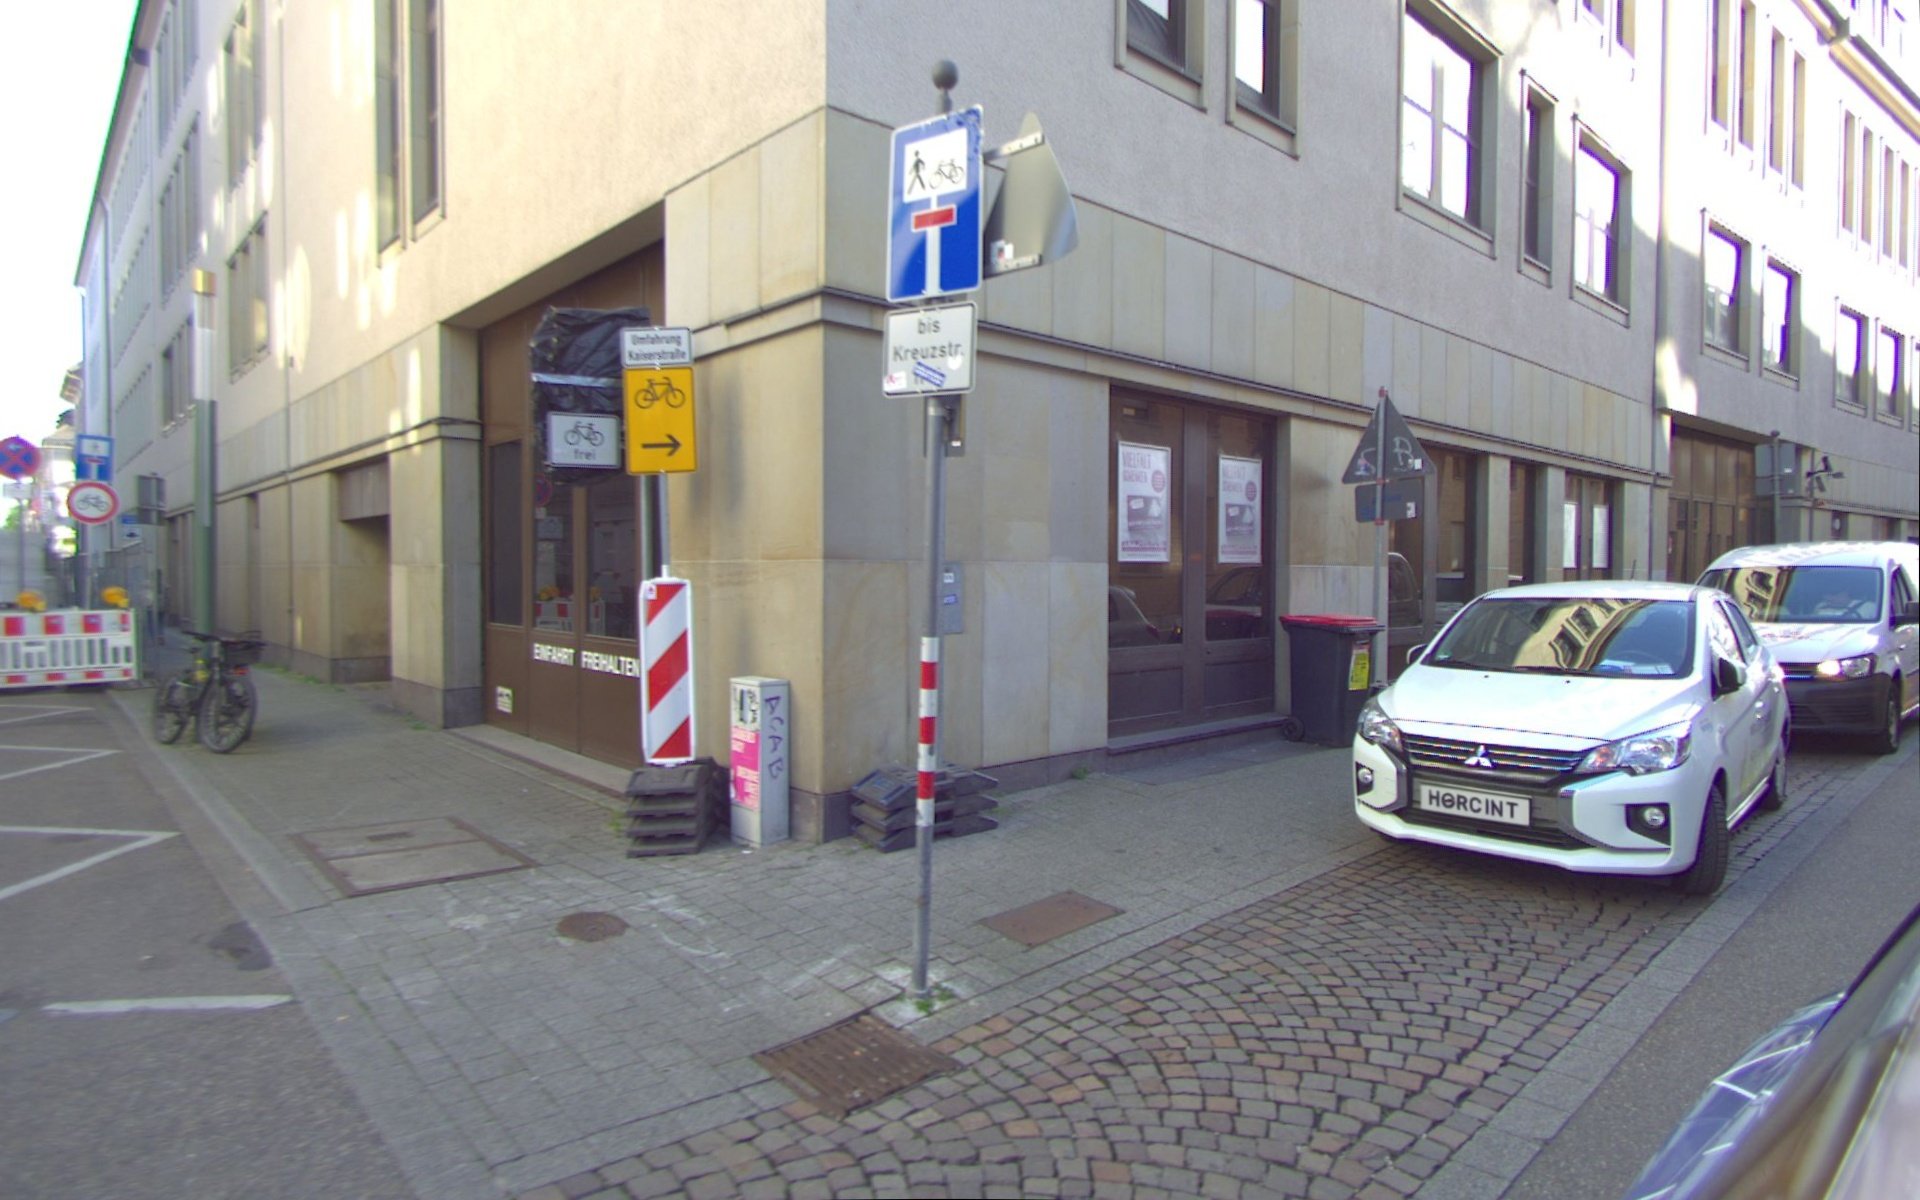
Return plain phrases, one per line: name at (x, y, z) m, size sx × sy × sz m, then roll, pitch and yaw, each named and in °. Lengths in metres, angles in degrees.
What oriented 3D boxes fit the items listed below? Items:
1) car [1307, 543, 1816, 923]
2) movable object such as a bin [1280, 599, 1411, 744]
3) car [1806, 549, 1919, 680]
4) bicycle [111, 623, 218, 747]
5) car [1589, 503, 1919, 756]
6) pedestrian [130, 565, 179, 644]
car at (3.863, 0.490, 6.178) m, size 3.935 × 1.567 × 1.732 m, roll -2°, pitch 2°, yaw -44°
movable object such as a bin at (3.224, 0.558, 8.451) m, size 0.914 × 1.099 × 0.687 m, roll -2°, pitch 1°, yaw -43°
car at (13.190, 0.130, 13.795) m, size 3.788 × 1.604 × 1.774 m, roll -2°, pitch -1°, yaw -39°
bicycle at (-7.548, 0.769, 9.649) m, size 0.461 × 1.020 × 1.425 m, roll -1°, pitch 1°, yaw -25°
car at (8.281, 0.183, 9.919) m, size 5.102 × 1.885 × 1.946 m, roll -2°, pitch -1°, yaw -39°
pedestrian at (-16.922, 0.080, 21.261) m, size 0.711 × 1.606 × 0.636 m, roll -2°, pitch 2°, yaw -44°
